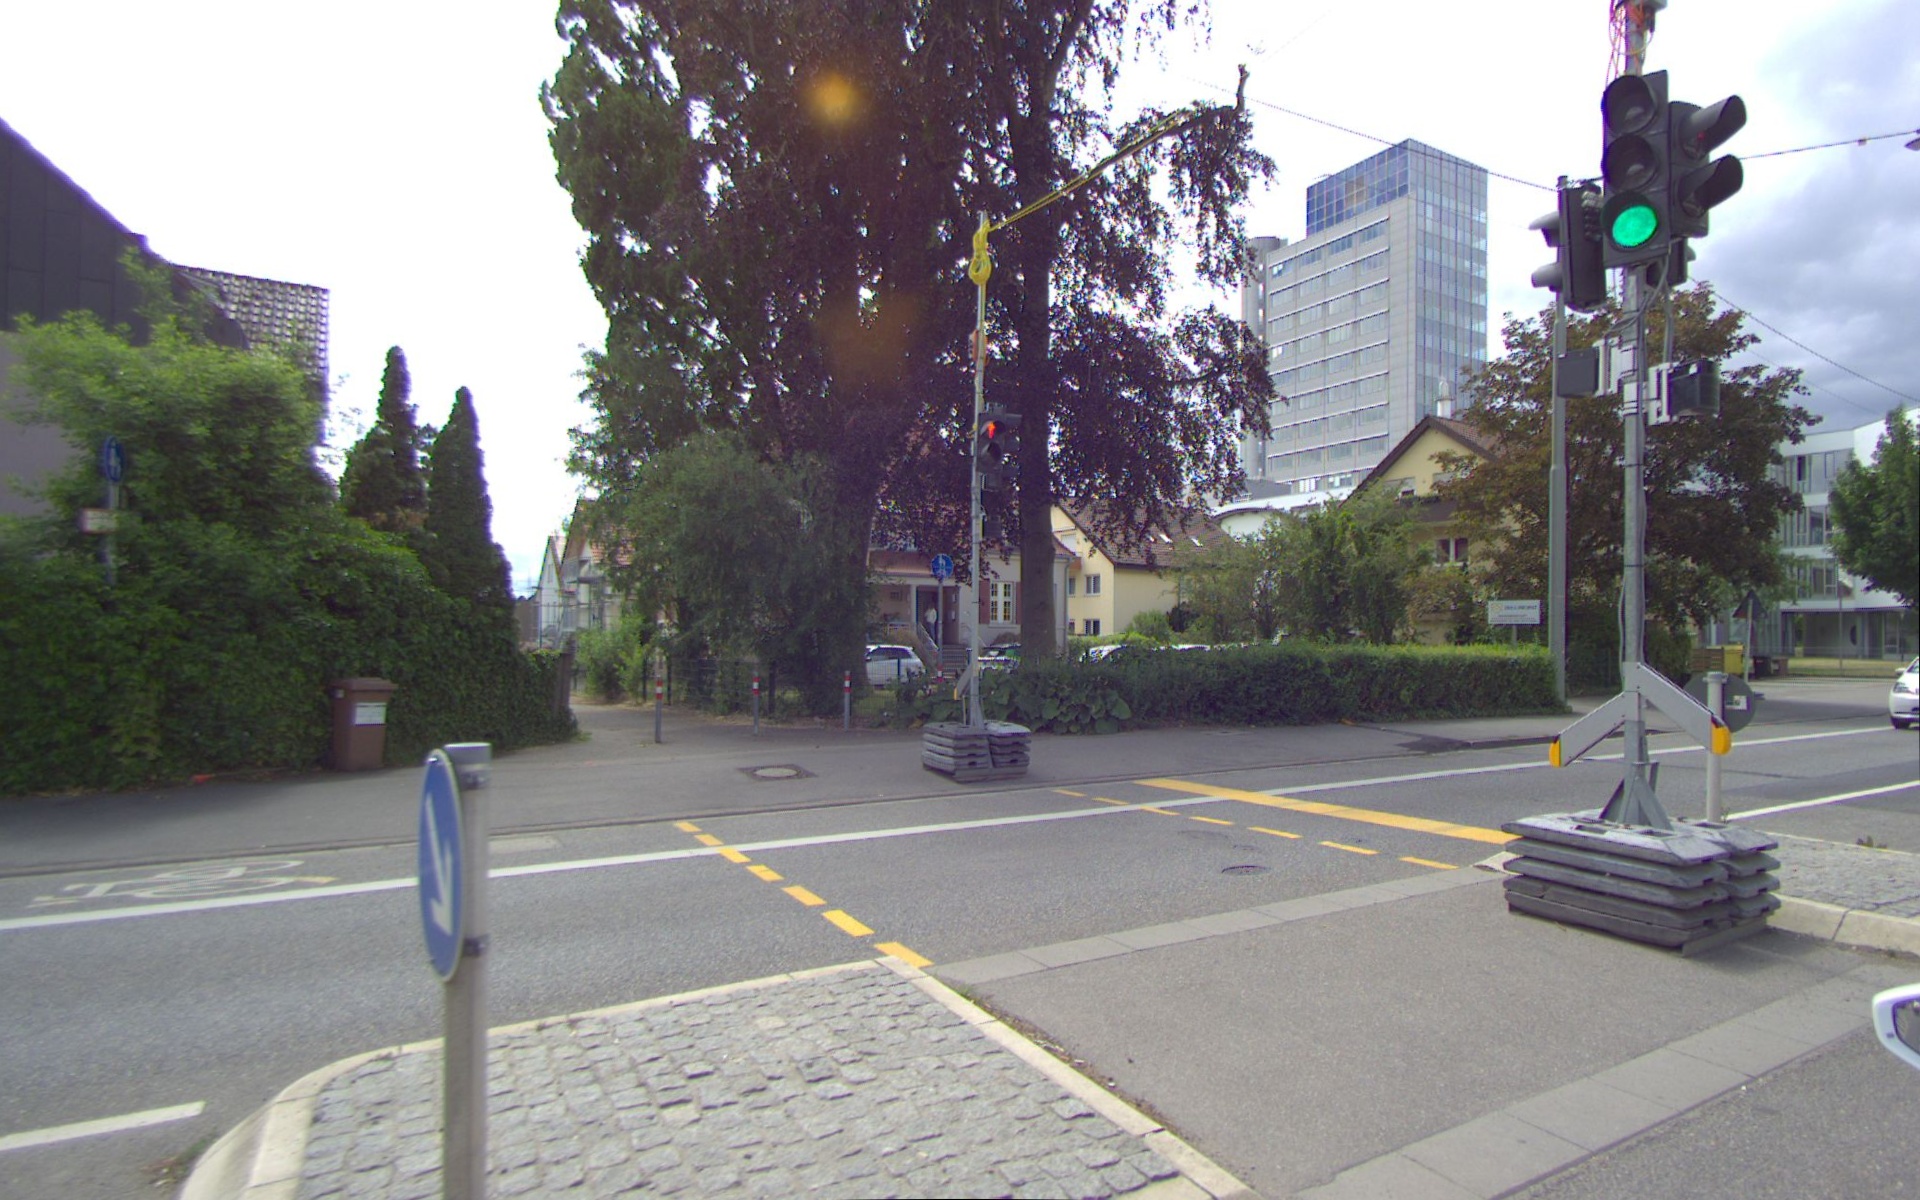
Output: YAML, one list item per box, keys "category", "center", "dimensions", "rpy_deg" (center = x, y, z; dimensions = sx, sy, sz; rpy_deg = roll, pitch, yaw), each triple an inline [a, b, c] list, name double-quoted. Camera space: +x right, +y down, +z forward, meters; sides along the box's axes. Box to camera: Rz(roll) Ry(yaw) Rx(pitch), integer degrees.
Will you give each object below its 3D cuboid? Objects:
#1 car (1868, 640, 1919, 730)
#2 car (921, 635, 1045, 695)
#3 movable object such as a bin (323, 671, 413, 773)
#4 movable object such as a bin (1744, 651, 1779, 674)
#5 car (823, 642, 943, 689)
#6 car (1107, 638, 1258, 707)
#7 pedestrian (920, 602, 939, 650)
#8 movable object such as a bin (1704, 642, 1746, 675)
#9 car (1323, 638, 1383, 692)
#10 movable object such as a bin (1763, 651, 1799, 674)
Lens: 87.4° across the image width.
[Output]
- category: "car"
  center: [18.265, 1.498, 18.141]
  dimensions: [3.953, 1.535, 1.653]
  rpy_deg: [1, -2, -31]
- category: "car"
  center: [0.692, 1.913, 30.121]
  dimensions: [3.398, 1.685, 1.652]
  rpy_deg: [1, -2, -32]
- category: "movable object such as a bin"
  center: [-5.984, 1.215, 10.168]
  dimensions: [0.545, 0.965, 0.540]
  rpy_deg: [0, -2, 17]
- category: "movable object such as a bin"
  center: [33.358, 2.584, 41.794]
  dimensions: [0.985, 0.954, 0.745]
  rpy_deg: [1, -3, -23]
- category: "car"
  center: [-2.715, 2.291, 35.630]
  dimensions: [3.828, 1.572, 1.856]
  rpy_deg: [1, -2, -30]
- category: "car"
  center: [5.352, 1.687, 24.125]
  dimensions: [3.398, 1.535, 1.652]
  rpy_deg: [1, -2, -32]
- category: "pedestrian"
  center: [-1.249, 1.046, 40.692]
  dimensions: [0.576, 1.933, 0.587]
  rpy_deg: [1, -3, -30]
- category: "movable object such as a bin"
  center: [32.789, 2.497, 43.064]
  dimensions: [1.389, 1.347, 1.417]
  rpy_deg: [-2, -3, 39]
- category: "car"
  center: [12.201, 1.950, 31.113]
  dimensions: [1.634, 1.535, 3.435]
  rpy_deg: [0, -2, 23]
- category: "movable object such as a bin"
  center: [33.513, 2.544, 41.011]
  dimensions: [0.985, 0.954, 0.745]
  rpy_deg: [1, -3, -23]
